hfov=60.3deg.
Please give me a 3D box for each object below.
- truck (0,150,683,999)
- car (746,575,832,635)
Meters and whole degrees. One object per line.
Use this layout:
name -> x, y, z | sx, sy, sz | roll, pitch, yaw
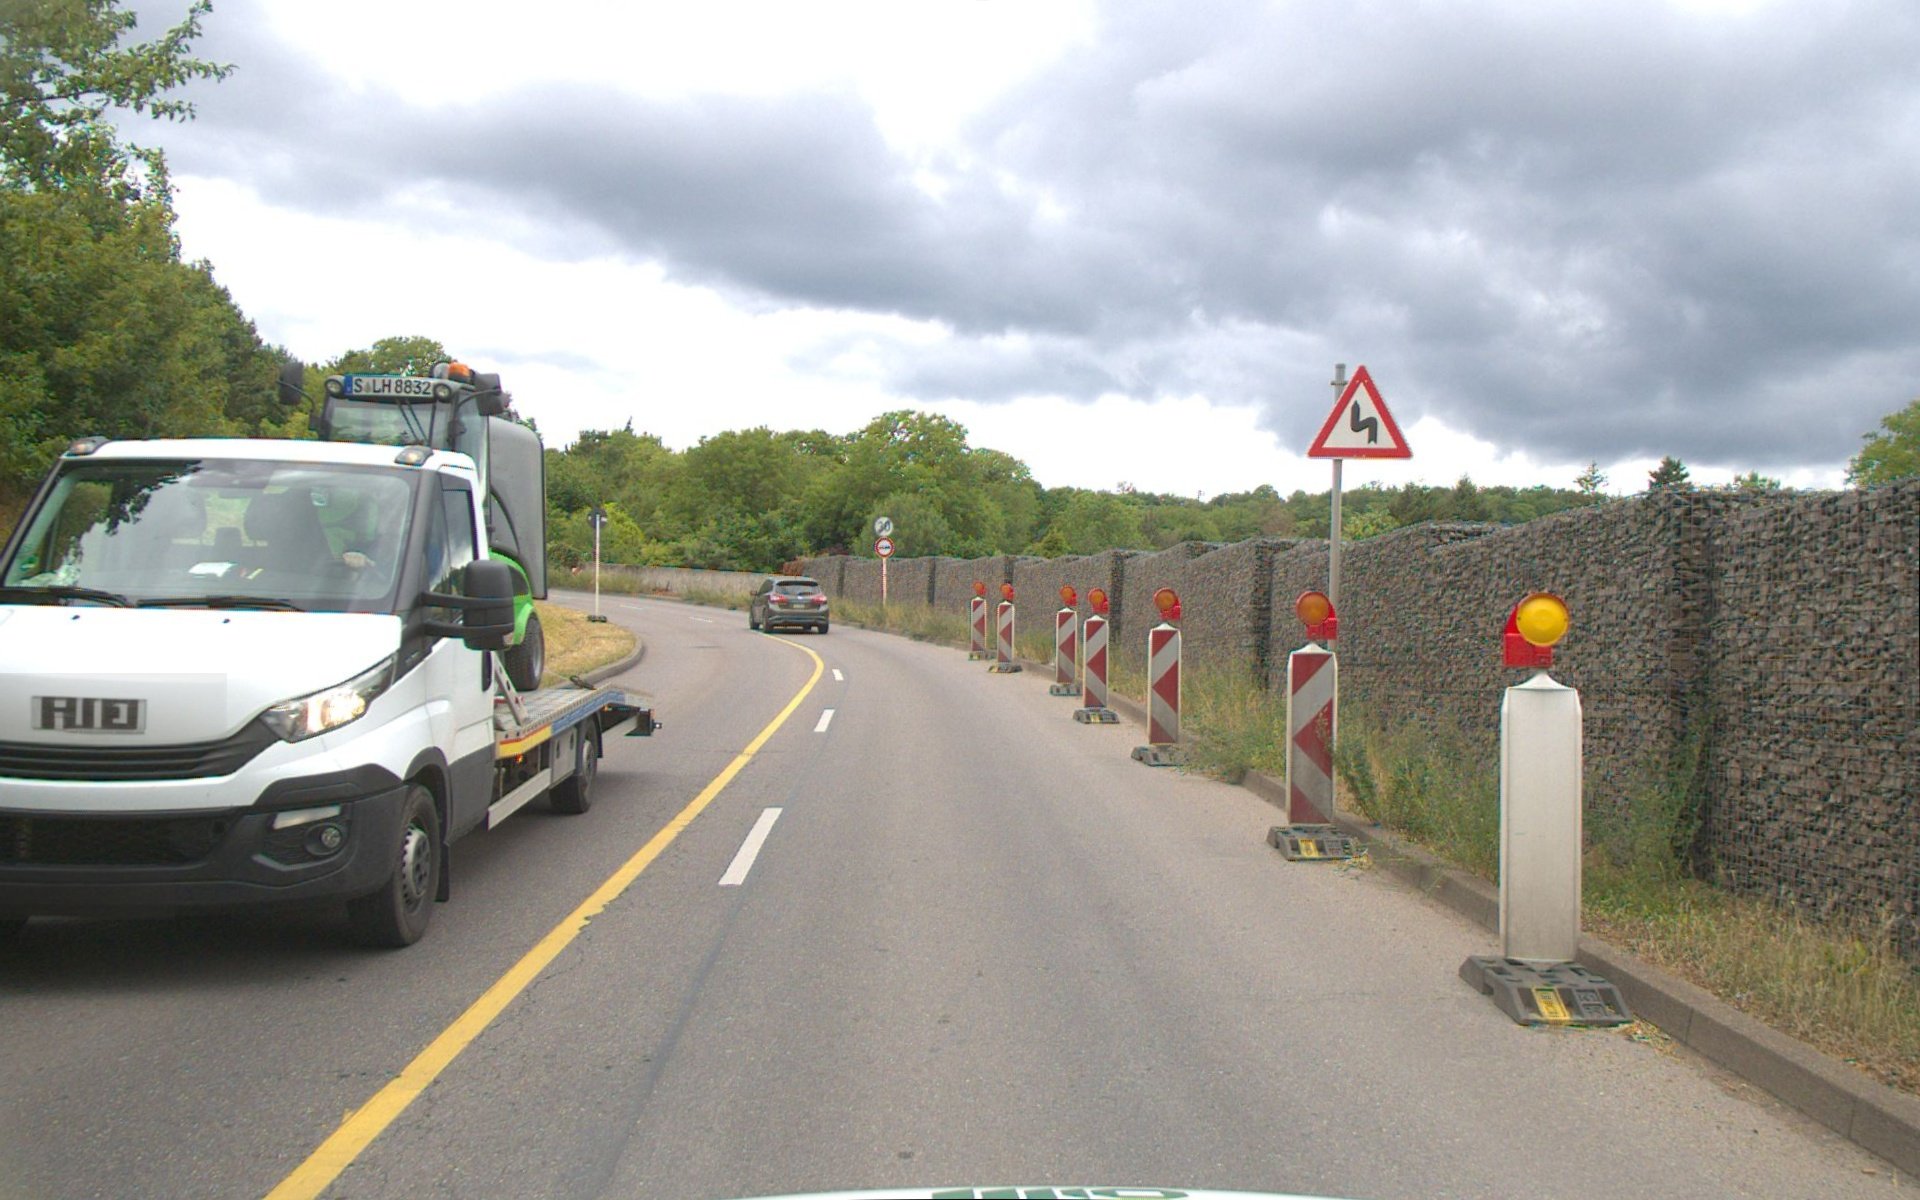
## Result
truck -> -3.318, -0.122, 9.858 | 2.170, 3.067, 7.737 | 1, 0, -1
car -> -4.795, 0.103, 45.910 | 1.809, 1.509, 3.986 | 0, 2, -14
